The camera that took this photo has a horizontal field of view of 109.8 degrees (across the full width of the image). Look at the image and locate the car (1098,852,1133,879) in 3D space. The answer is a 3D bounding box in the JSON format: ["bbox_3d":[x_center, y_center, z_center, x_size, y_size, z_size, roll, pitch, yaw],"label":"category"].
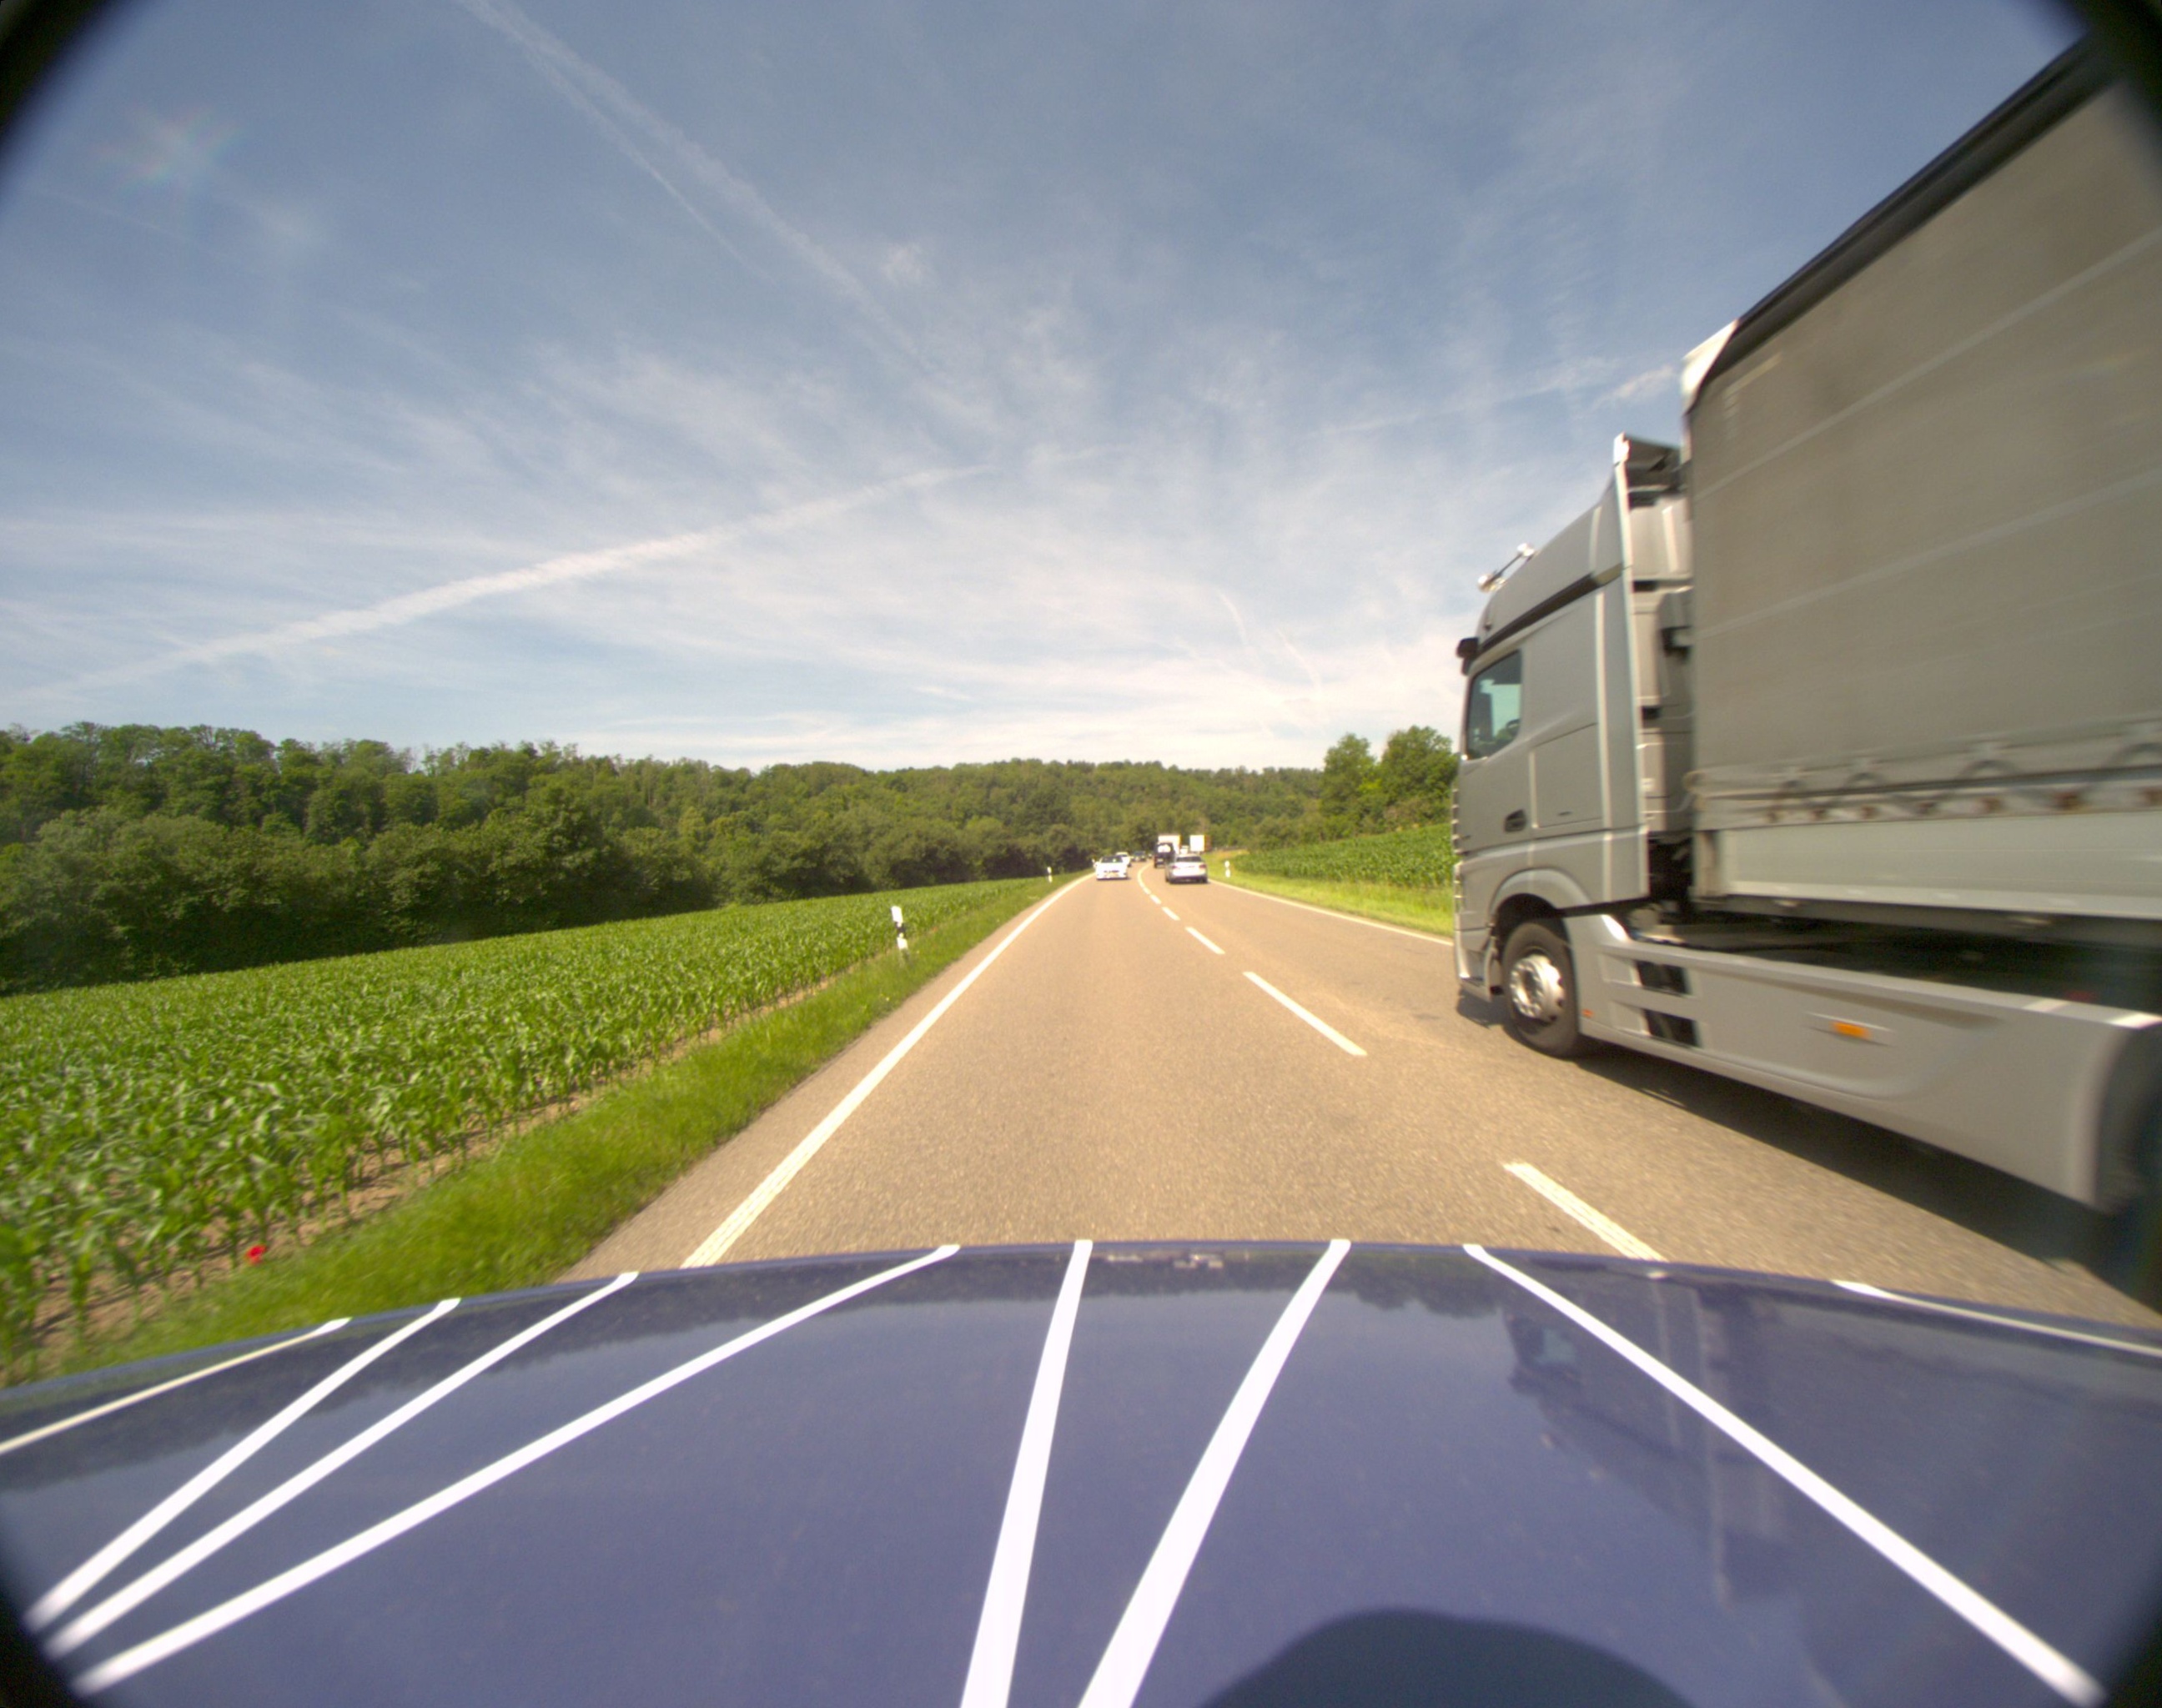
[{"bbox_3d":[2.127,0.664,45.749,1.742,1.445,4.037,-2,1,7],"label":"car"}]

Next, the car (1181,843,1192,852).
[{"bbox_3d":[23.242,-1.476,167.008,1.996,1.759,4.003,-2,2,14],"label":"car"}]

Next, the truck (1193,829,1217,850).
[{"bbox_3d":[25.991,-3.020,158.731,2.774,3.975,17.045,-2,1,16],"label":"truck"}]

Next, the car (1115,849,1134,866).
[{"bbox_3d":[4.554,0.332,79.153,1.716,1.523,4.001,-3,2,6],"label":"car"}]

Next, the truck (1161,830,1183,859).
[{"bbox_3d":[12.224,-1.282,102.961,2.747,3.558,9.729,-2,1,6],"label":"truck"}]

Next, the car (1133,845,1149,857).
[{"bbox_3d":[8.325,-0.441,105.730,1.741,1.445,4.038,-2,1,11],"label":"car"}]

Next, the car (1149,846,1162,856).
[{"bbox_3d":[12.271,-0.514,125.772,1.741,1.445,4.038,-2,1,11],"label":"car"}]

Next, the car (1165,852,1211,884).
[{"bbox_3d":[5.189,0.642,37.382,1.732,1.432,4.176,-2,0,1],"label":"car"}]

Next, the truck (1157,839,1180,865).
[{"bbox_3d":[8.263,-0.214,71.867,2.014,2.306,5.194,-2,1,7],"label":"truck"}]
